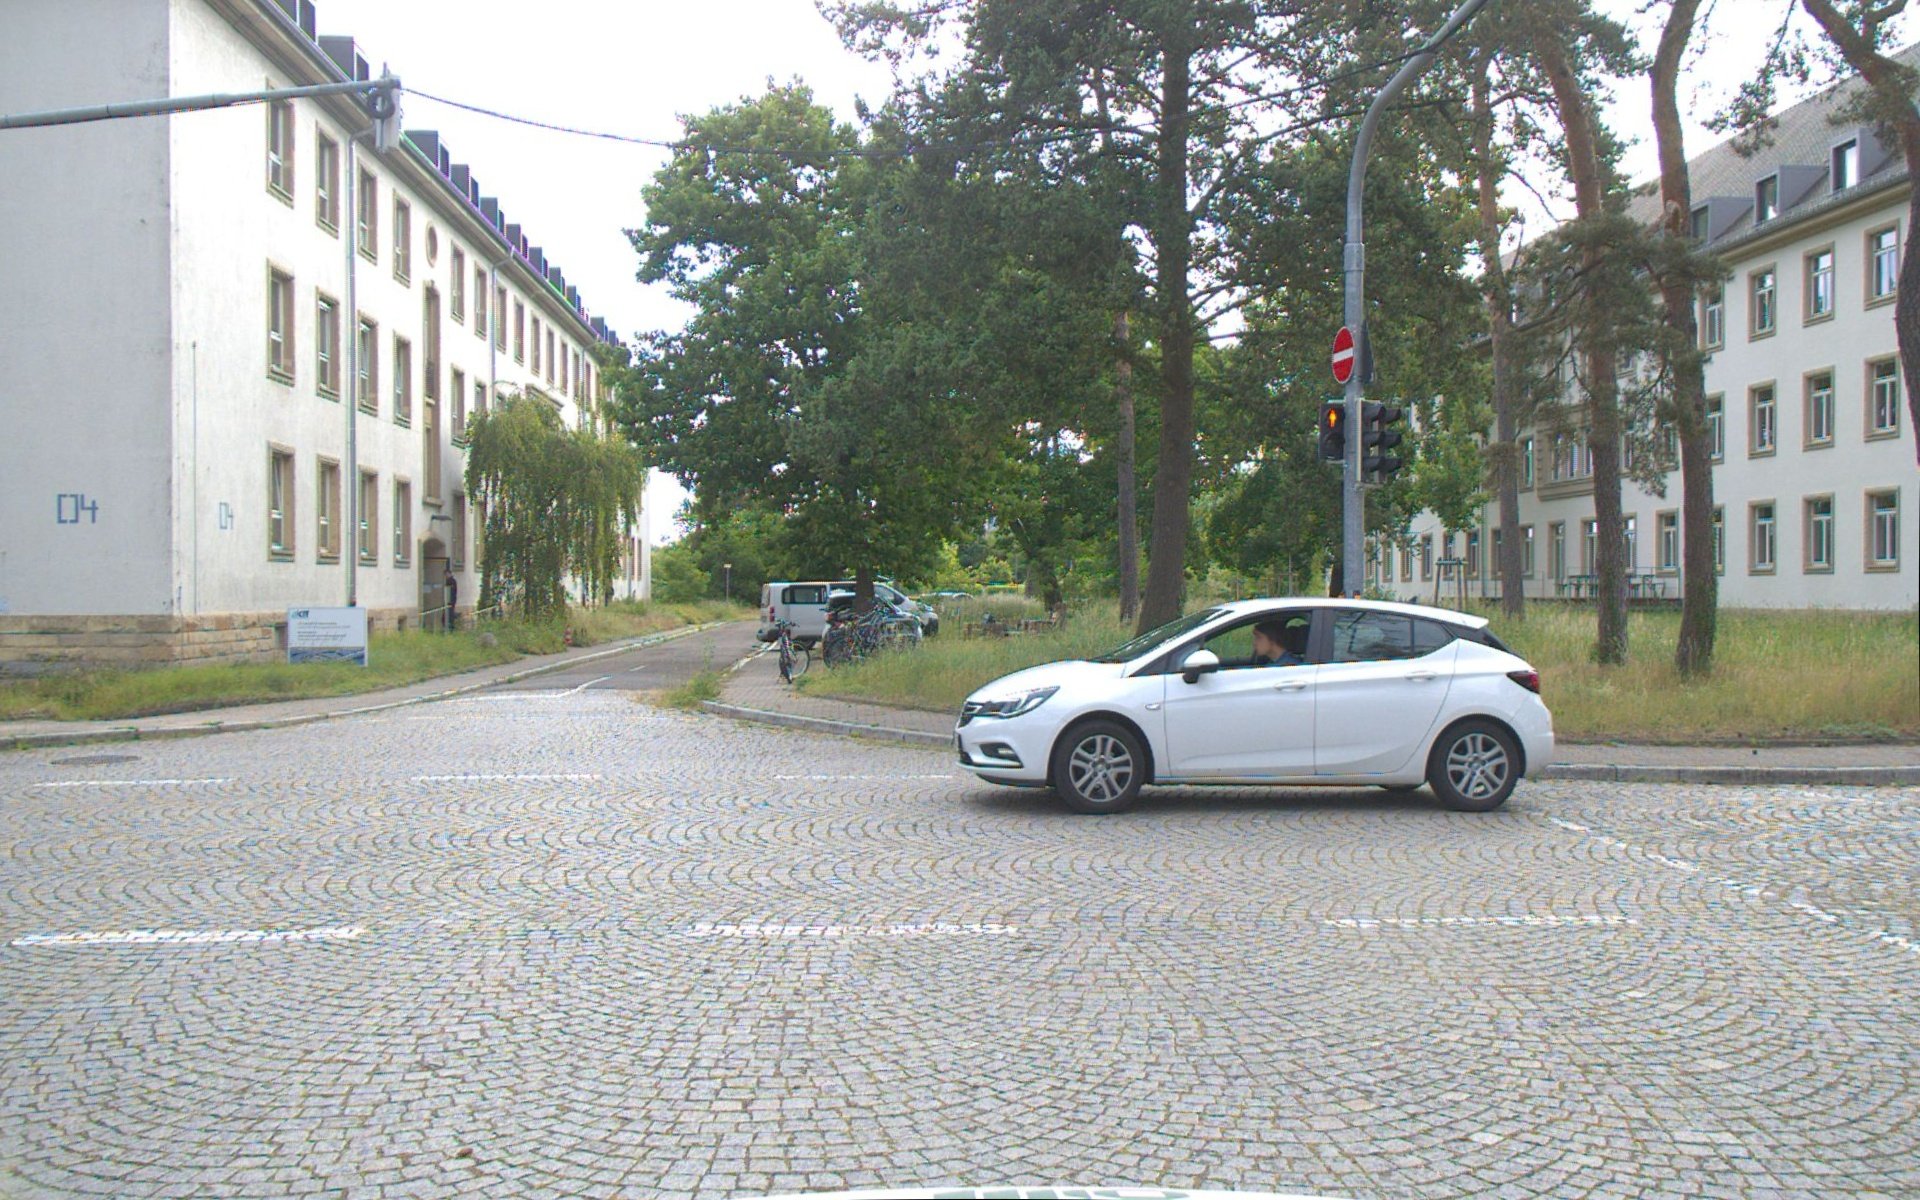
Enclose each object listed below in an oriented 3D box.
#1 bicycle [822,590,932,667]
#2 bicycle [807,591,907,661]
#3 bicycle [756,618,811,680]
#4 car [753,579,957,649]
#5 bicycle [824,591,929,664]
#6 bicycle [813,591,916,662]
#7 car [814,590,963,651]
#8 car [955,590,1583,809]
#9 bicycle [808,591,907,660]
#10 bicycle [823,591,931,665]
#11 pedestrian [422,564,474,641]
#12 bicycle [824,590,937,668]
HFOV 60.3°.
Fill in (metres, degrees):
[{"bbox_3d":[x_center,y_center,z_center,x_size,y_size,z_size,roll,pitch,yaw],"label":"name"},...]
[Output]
[{"bbox_3d":[-1.539,0.524,30.831,2.028,1.402,0.619,0,0,-3],"label":"bicycle"},{"bbox_3d":[-2.096,0.520,33.756,2.028,1.402,0.619,0,0,-3],"label":"bicycle"},{"bbox_3d":[-2.996,0.814,28.261,0.605,0.980,2.077,0,0,3],"label":"bicycle"},{"bbox_3d":[-3.063,0.373,47.975,5.600,1.944,2.220,0,0,-16],"label":"car"},{"bbox_3d":[-1.627,0.528,32.249,2.028,1.402,0.619,0,0,-3],"label":"bicycle"},{"bbox_3d":[-1.900,0.521,33.030,2.028,1.402,0.619,0,0,-3],"label":"bicycle"},{"bbox_3d":[-1.970,0.534,44.673,3.859,1.571,1.996,0,0,-9],"label":"car"},{"bbox_3d":[2.100,0.675,12.047,4.159,1.441,1.886,1,0,-4],"label":"car"},{"bbox_3d":[-2.131,0.523,34.502,2.028,1.402,0.619,0,0,-3],"label":"bicycle"},{"bbox_3d":[-1.583,0.525,31.453,2.028,1.402,0.619,0,0,-3],"label":"bicycle"},{"bbox_3d":[-13.842,0.065,44.745,1.064,2.049,1.022,0,0,1],"label":"pedestrian"},{"bbox_3d":[-1.453,0.523,30.165,2.028,1.402,0.619,0,0,-3],"label":"bicycle"}]
